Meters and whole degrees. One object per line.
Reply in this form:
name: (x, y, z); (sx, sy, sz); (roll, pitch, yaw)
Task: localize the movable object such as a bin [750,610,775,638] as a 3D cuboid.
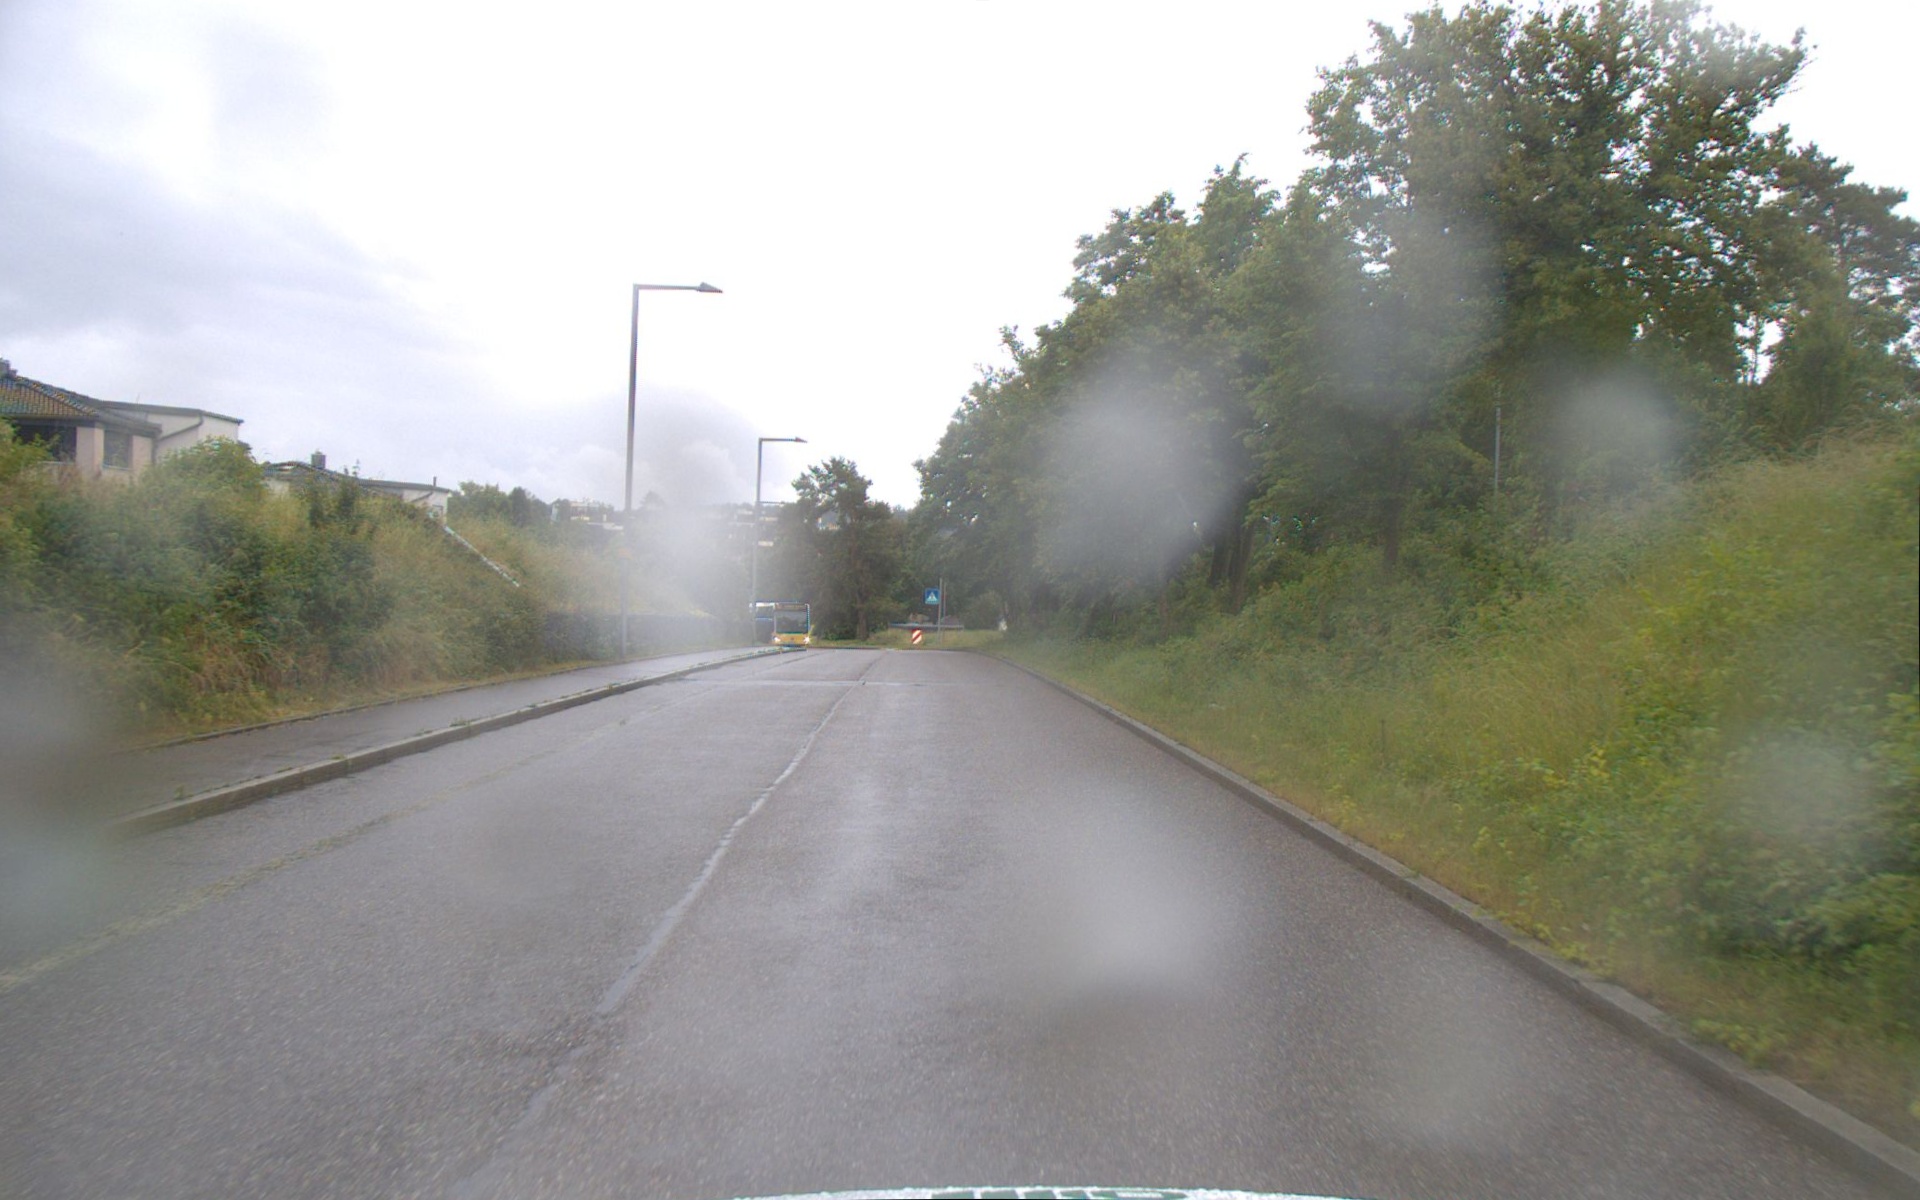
movable object such as a bin: (-10.226, 1.251, 85.441); (1.111, 1.362, 1.395); (4, -2, -11)

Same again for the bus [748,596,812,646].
bus: (-12.187, 1.477, 111.022); (2.596, 3.121, 10.809); (1, -2, -15)
